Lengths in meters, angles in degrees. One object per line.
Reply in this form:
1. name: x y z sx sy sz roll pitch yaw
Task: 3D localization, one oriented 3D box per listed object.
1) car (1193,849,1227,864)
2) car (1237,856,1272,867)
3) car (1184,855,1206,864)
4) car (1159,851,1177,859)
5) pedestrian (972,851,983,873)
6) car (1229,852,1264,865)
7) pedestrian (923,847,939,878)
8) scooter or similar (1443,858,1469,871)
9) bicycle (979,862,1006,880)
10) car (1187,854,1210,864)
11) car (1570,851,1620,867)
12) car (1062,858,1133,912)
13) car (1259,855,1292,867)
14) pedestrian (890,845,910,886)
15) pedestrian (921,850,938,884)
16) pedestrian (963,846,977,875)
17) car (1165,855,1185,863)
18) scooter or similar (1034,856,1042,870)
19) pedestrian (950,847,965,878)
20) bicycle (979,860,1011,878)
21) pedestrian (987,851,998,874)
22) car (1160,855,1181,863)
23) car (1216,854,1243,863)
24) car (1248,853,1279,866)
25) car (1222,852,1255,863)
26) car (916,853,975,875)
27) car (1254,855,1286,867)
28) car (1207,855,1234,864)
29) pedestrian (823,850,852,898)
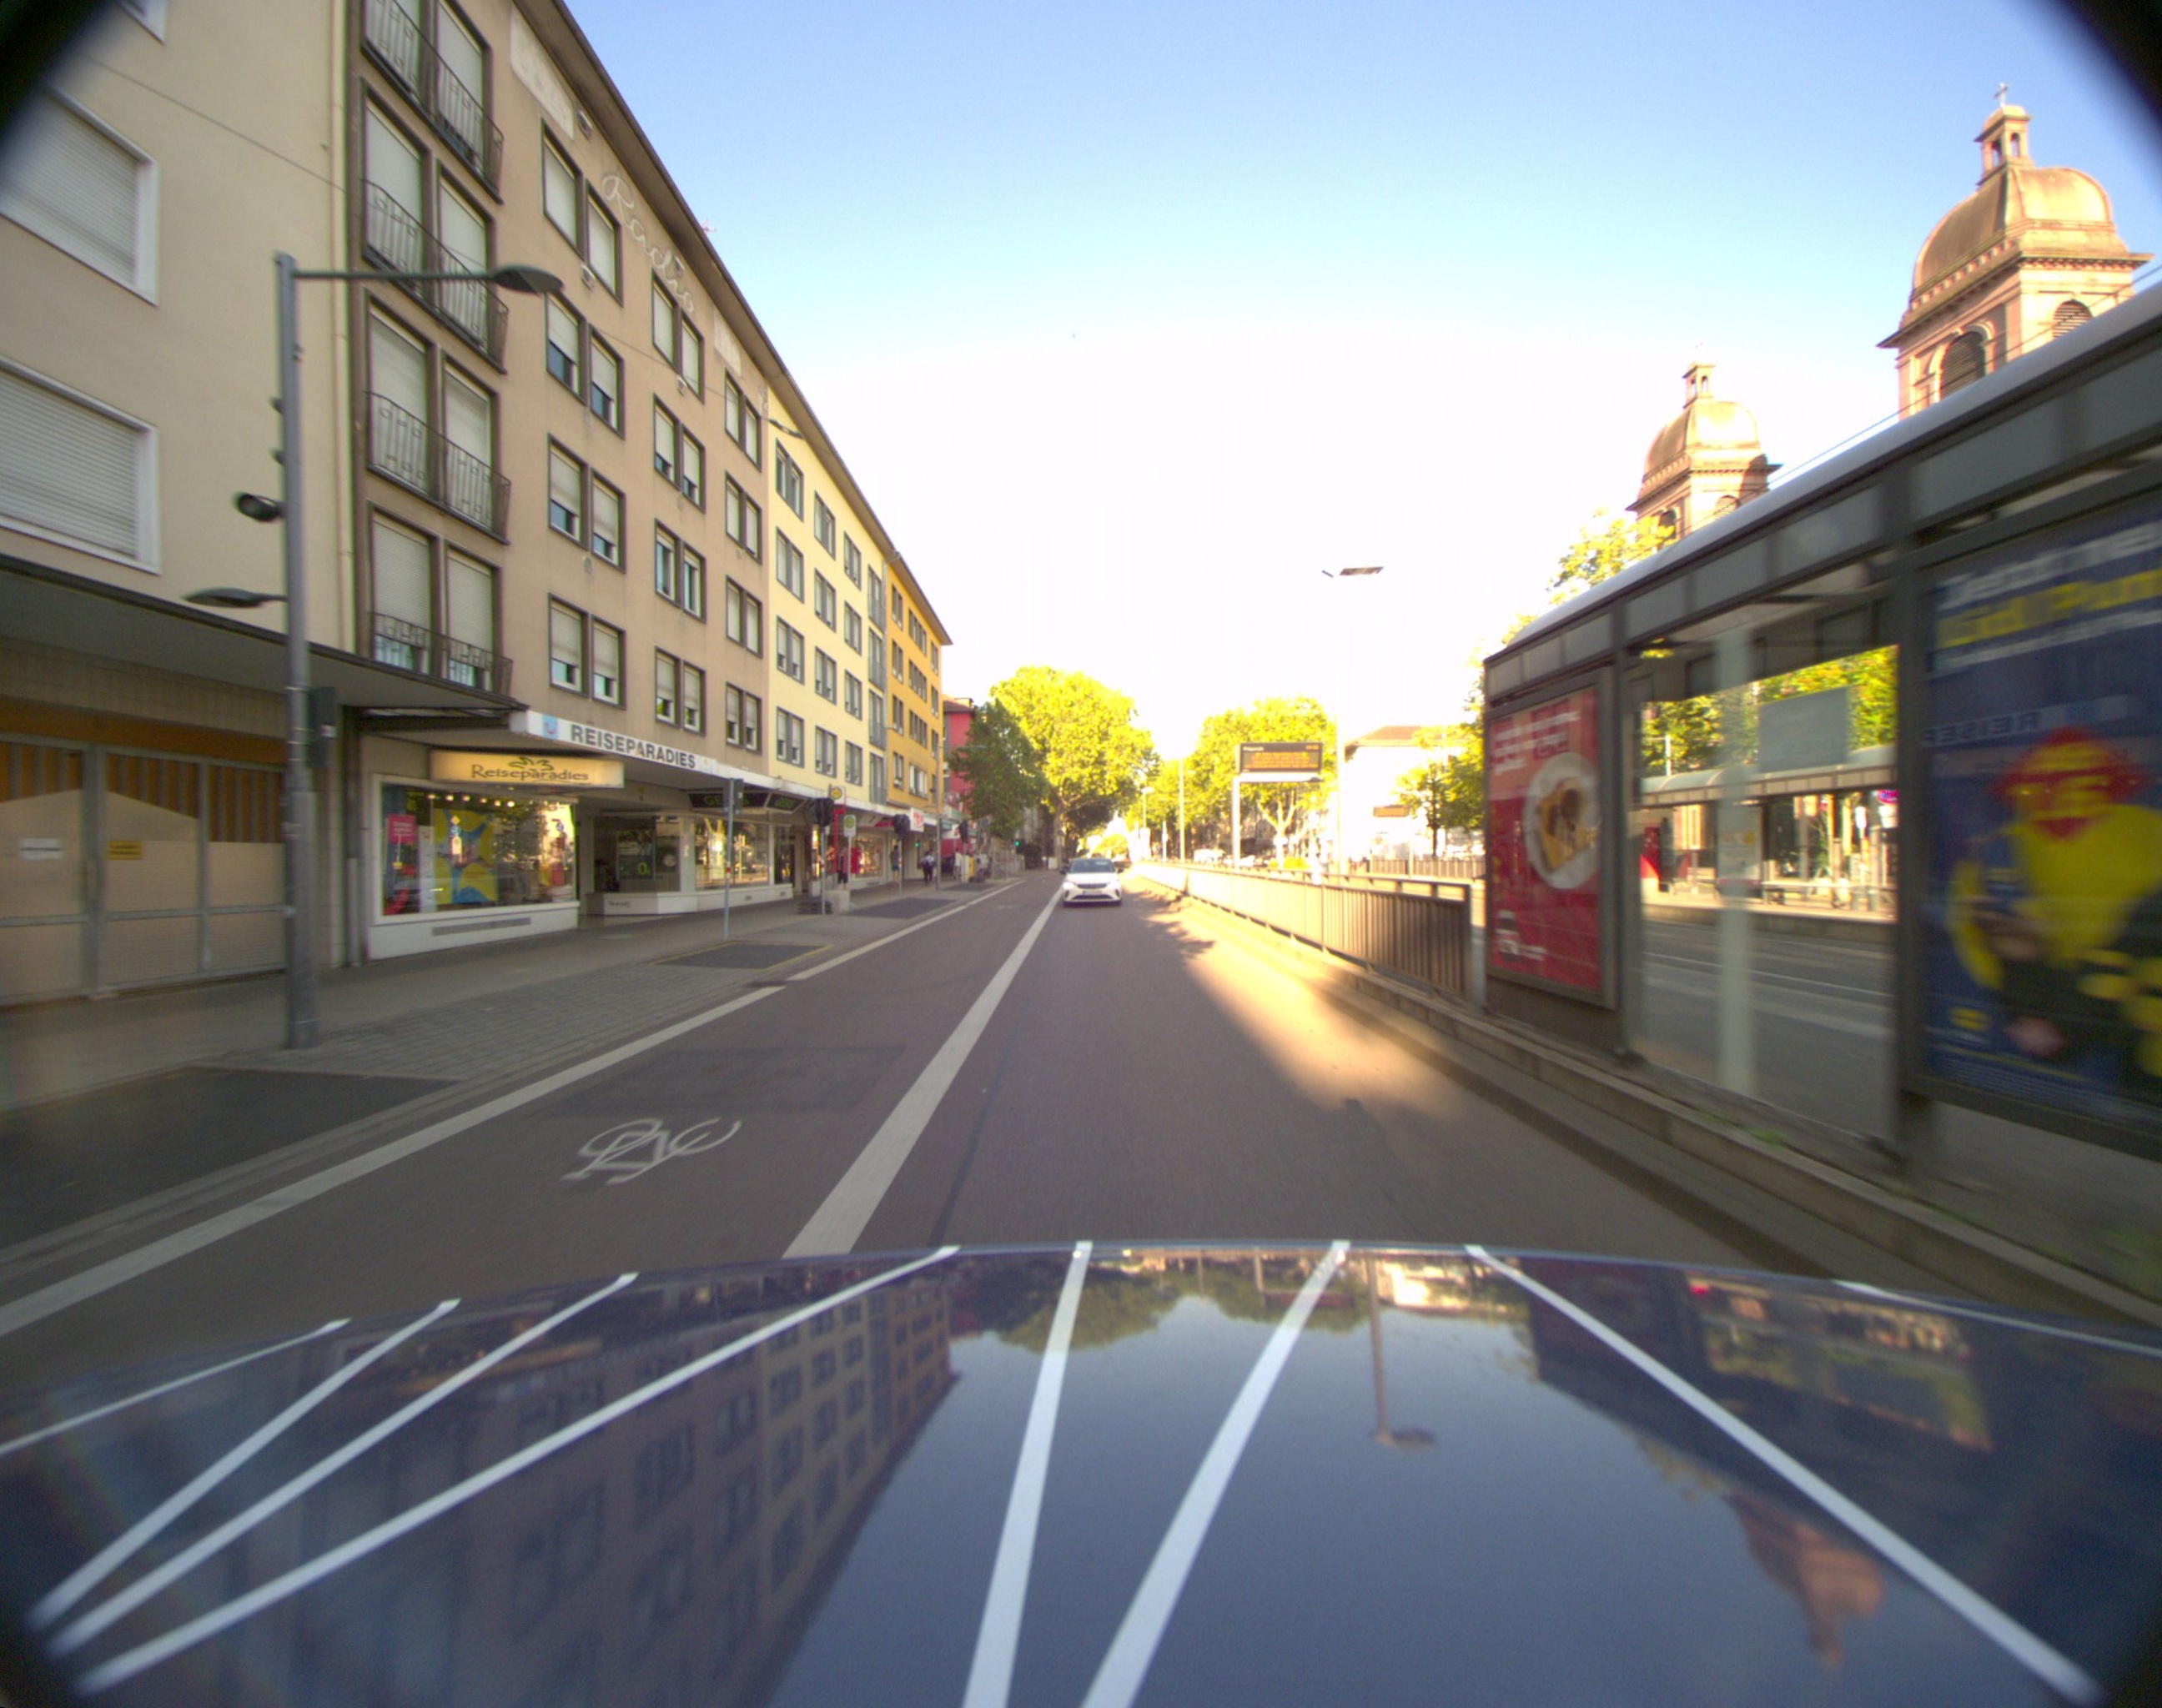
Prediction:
1. car: 23.164 0.428 136.258 5.619 2.684 2.176 0 0 -24
2. car: 22.207 0.905 97.122 4.266 1.369 2.147 0 0 -40
3. car: 22.766 1.017 151.668 4.005 1.805 1.996 0 0 -26
4. car: 23.881 0.241 208.191 4.952 2.200 2.096 0 0 -41
5. pedestrian: -8.408 0.648 61.764 0.745 1.769 0.894 0 1 1
6. car: 21.846 0.540 100.364 4.265 1.674 2.147 0 0 -34
7. pedestrian: -8.199 0.466 41.647 0.725 1.713 0.766 0 1 0
8. scooter or similar: 33.461 0.939 67.840 1.096 1.119 2.449 0 -2 1
9. bicycle: -5.201 1.005 44.692 1.487 1.002 0.454 0 1 -2
10. car: 22.912 1.003 148.394 4.005 1.805 1.996 0 0 -26
11. car: 46.224 0.456 68.418 1.815 1.389 4.001 0 -1 1
12. car: 0.446 0.844 22.351 1.865 1.394 3.932 -1 0 0
13. car: 22.531 0.779 87.974 3.979 1.423 1.767 0 0 -42
14. pedestrian: -8.294 0.518 34.786 0.725 1.829 0.766 0 1 0
15. pedestrian: -7.023 0.610 35.318 0.612 1.569 0.851 0 1 0
16. pedestrian: -7.075 0.416 48.444 0.725 1.796 0.766 0 1 0
17. car: 20.126 1.008 162.611 4.005 1.696 1.996 0 0 -26
18. scooter or similar: -4.607 0.997 81.096 0.666 1.461 2.545 0 0 1
19. pedestrian: -7.060 0.482 43.549 0.725 1.769 0.766 0 1 0
20. bicycle: -5.138 0.878 45.402 1.803 1.002 0.541 2 1 -2
21. pedestrian: -6.879 0.662 59.042 0.728 1.701 0.816 2 1 1
22. car: 19.142 1.027 162.544 4.234 1.696 1.999 0 0 -3
23. car: 22.749 0.666 116.313 4.265 1.451 1.598 0 0 -35
24. car: 22.749 0.687 94.505 3.979 1.495 1.827 0 0 -42
25. car: 21.811 0.523 105.280 4.260 1.548 1.641 0 0 -15
26. car: -10.796 0.797 60.748 4.352 1.677 1.772 0 1 0
27. car: 22.753 0.872 91.331 3.979 1.423 1.738 0 -1 -42
28. car: 22.728 0.914 123.789 4.004 1.509 1.997 0 0 -20
29. pedestrian: -8.312 0.660 26.003 0.725 1.623 0.766 0 1 0
